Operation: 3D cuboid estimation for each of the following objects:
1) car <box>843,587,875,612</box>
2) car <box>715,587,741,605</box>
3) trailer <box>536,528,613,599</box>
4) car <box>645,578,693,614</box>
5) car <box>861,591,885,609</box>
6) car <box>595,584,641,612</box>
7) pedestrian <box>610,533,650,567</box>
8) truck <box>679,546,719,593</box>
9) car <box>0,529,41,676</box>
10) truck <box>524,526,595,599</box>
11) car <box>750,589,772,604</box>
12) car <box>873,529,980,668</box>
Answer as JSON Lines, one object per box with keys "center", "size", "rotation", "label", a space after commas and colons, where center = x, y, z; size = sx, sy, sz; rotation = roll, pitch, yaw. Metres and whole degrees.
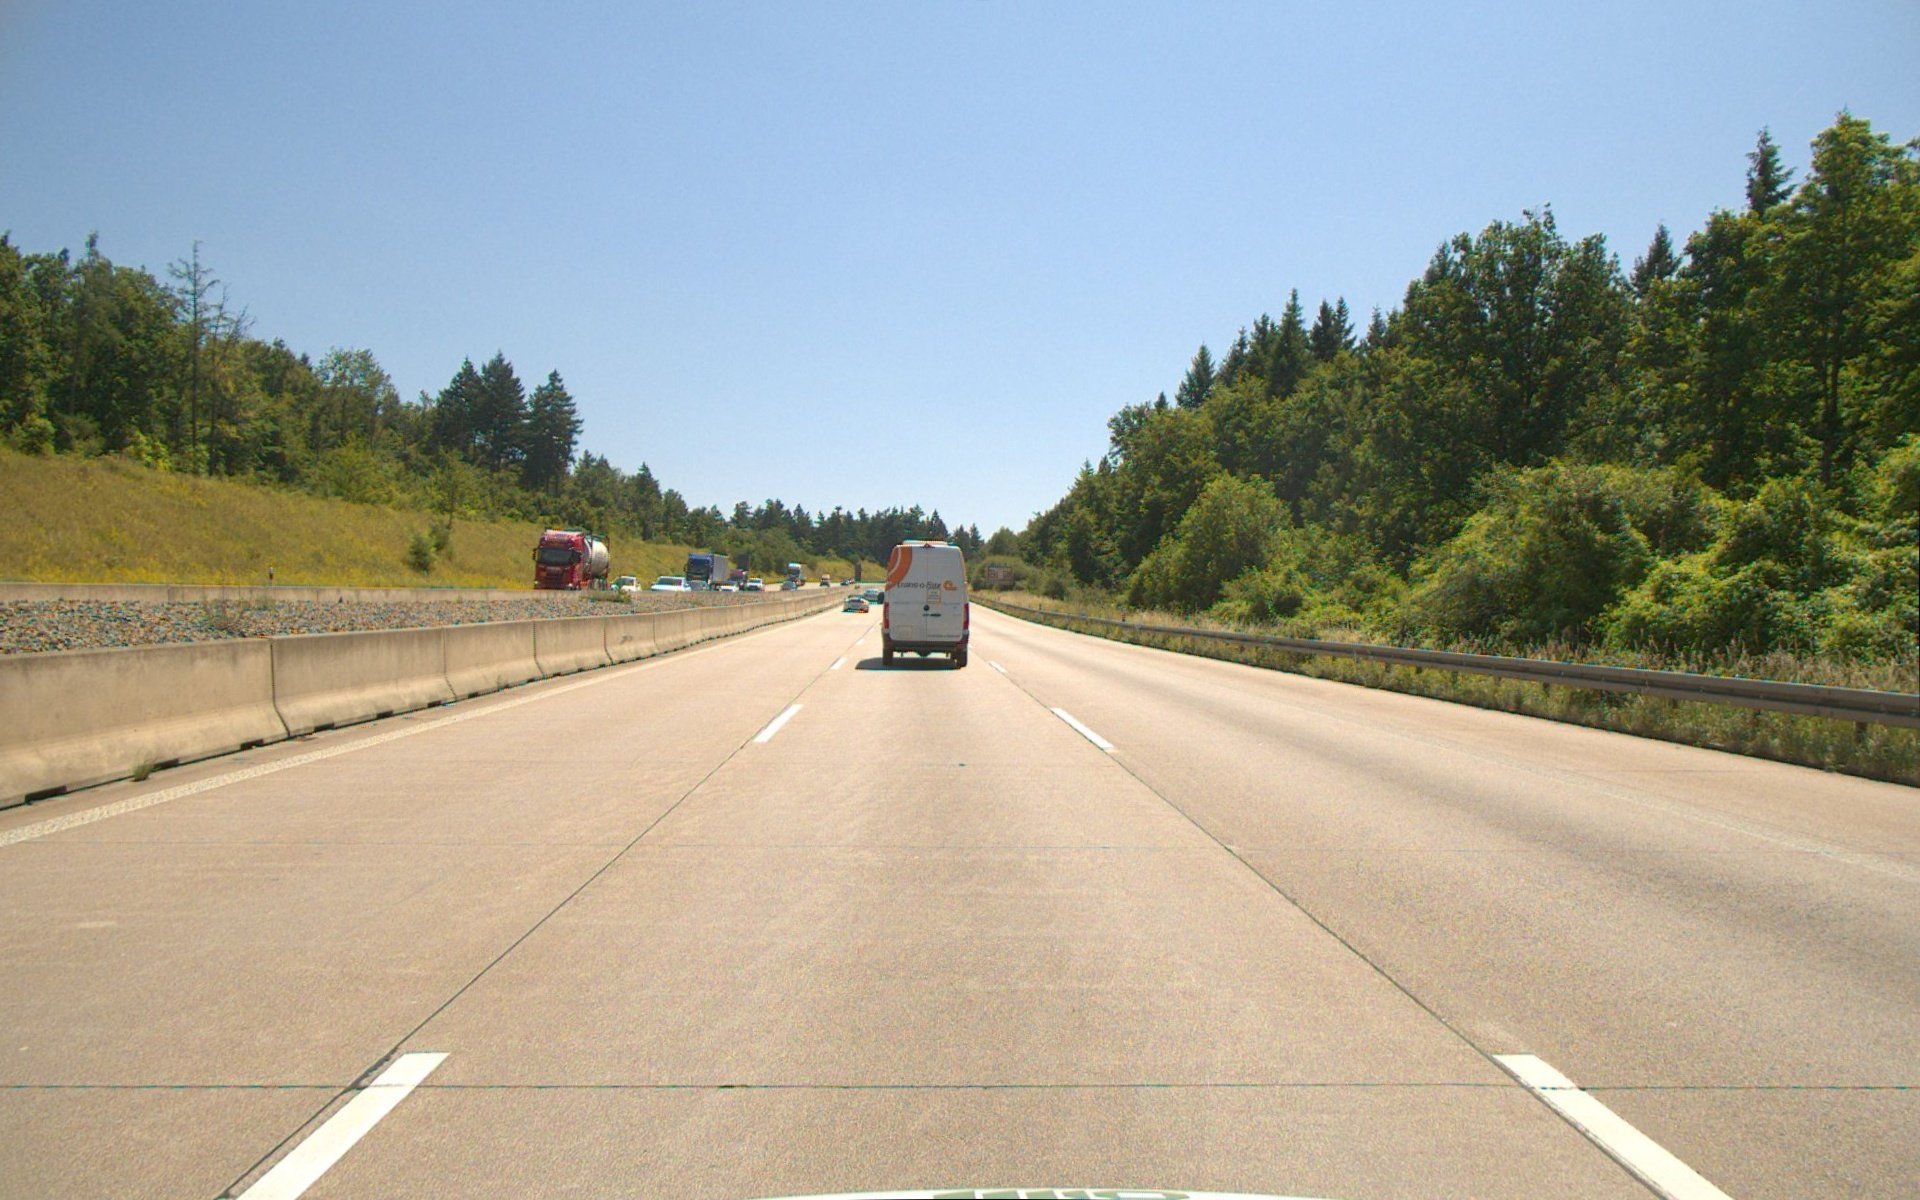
{"center": [-7.439, -0.006, 121.988], "size": [1.952, 1.713, 4.001], "rotation": [2, 0, 2], "label": "car"}
{"center": [-22.313, -0.416, 159.088], "size": [1.953, 1.610, 4.528], "rotation": [2, 0, -2], "label": "car"}
{"center": [-24.766, -2.222, 106.641], "size": [2.874, 4.241, 9.331], "rotation": [2, 0, -2], "label": "trailer"}
{"center": [-16.655, -0.223, 94.858], "size": [1.953, 1.906, 4.966], "rotation": [2, 0, -2], "label": "car"}
{"center": [-8.696, 0.029, 165.498], "size": [1.952, 1.713, 4.001], "rotation": [2, 0, 2], "label": "car"}
{"center": [-20.648, -0.135, 99.894], "size": [1.953, 1.610, 4.178], "rotation": [2, 0, -2], "label": "car"}
{"center": [-22.499, -3.391, 112.857], "size": [1.953, 2.049, 3.998], "rotation": [2, 0, -2], "label": "pedestrian"}
{"center": [-26.863, -3.047, 170.268], "size": [3.192, 4.583, 6.571], "rotation": [2, 0, -3], "label": "truck"}
{"center": [-14.296, 0.036, 21.864], "size": [1.954, 2.049, 4.458], "rotation": [0, 0, -3], "label": "car"}
{"center": [-24.632, -2.225, 101.970], "size": [2.874, 4.241, 5.980], "rotation": [2, 0, -2], "label": "truck"}
{"center": [-22.380, -0.353, 186.273], "size": [1.953, 1.610, 5.517], "rotation": [2, 0, -2], "label": "car"}
{"center": [-0.834, -0.059, 38.475], "size": [2.182, 2.893, 5.452], "rotation": [3, 1, -2], "label": "car"}
